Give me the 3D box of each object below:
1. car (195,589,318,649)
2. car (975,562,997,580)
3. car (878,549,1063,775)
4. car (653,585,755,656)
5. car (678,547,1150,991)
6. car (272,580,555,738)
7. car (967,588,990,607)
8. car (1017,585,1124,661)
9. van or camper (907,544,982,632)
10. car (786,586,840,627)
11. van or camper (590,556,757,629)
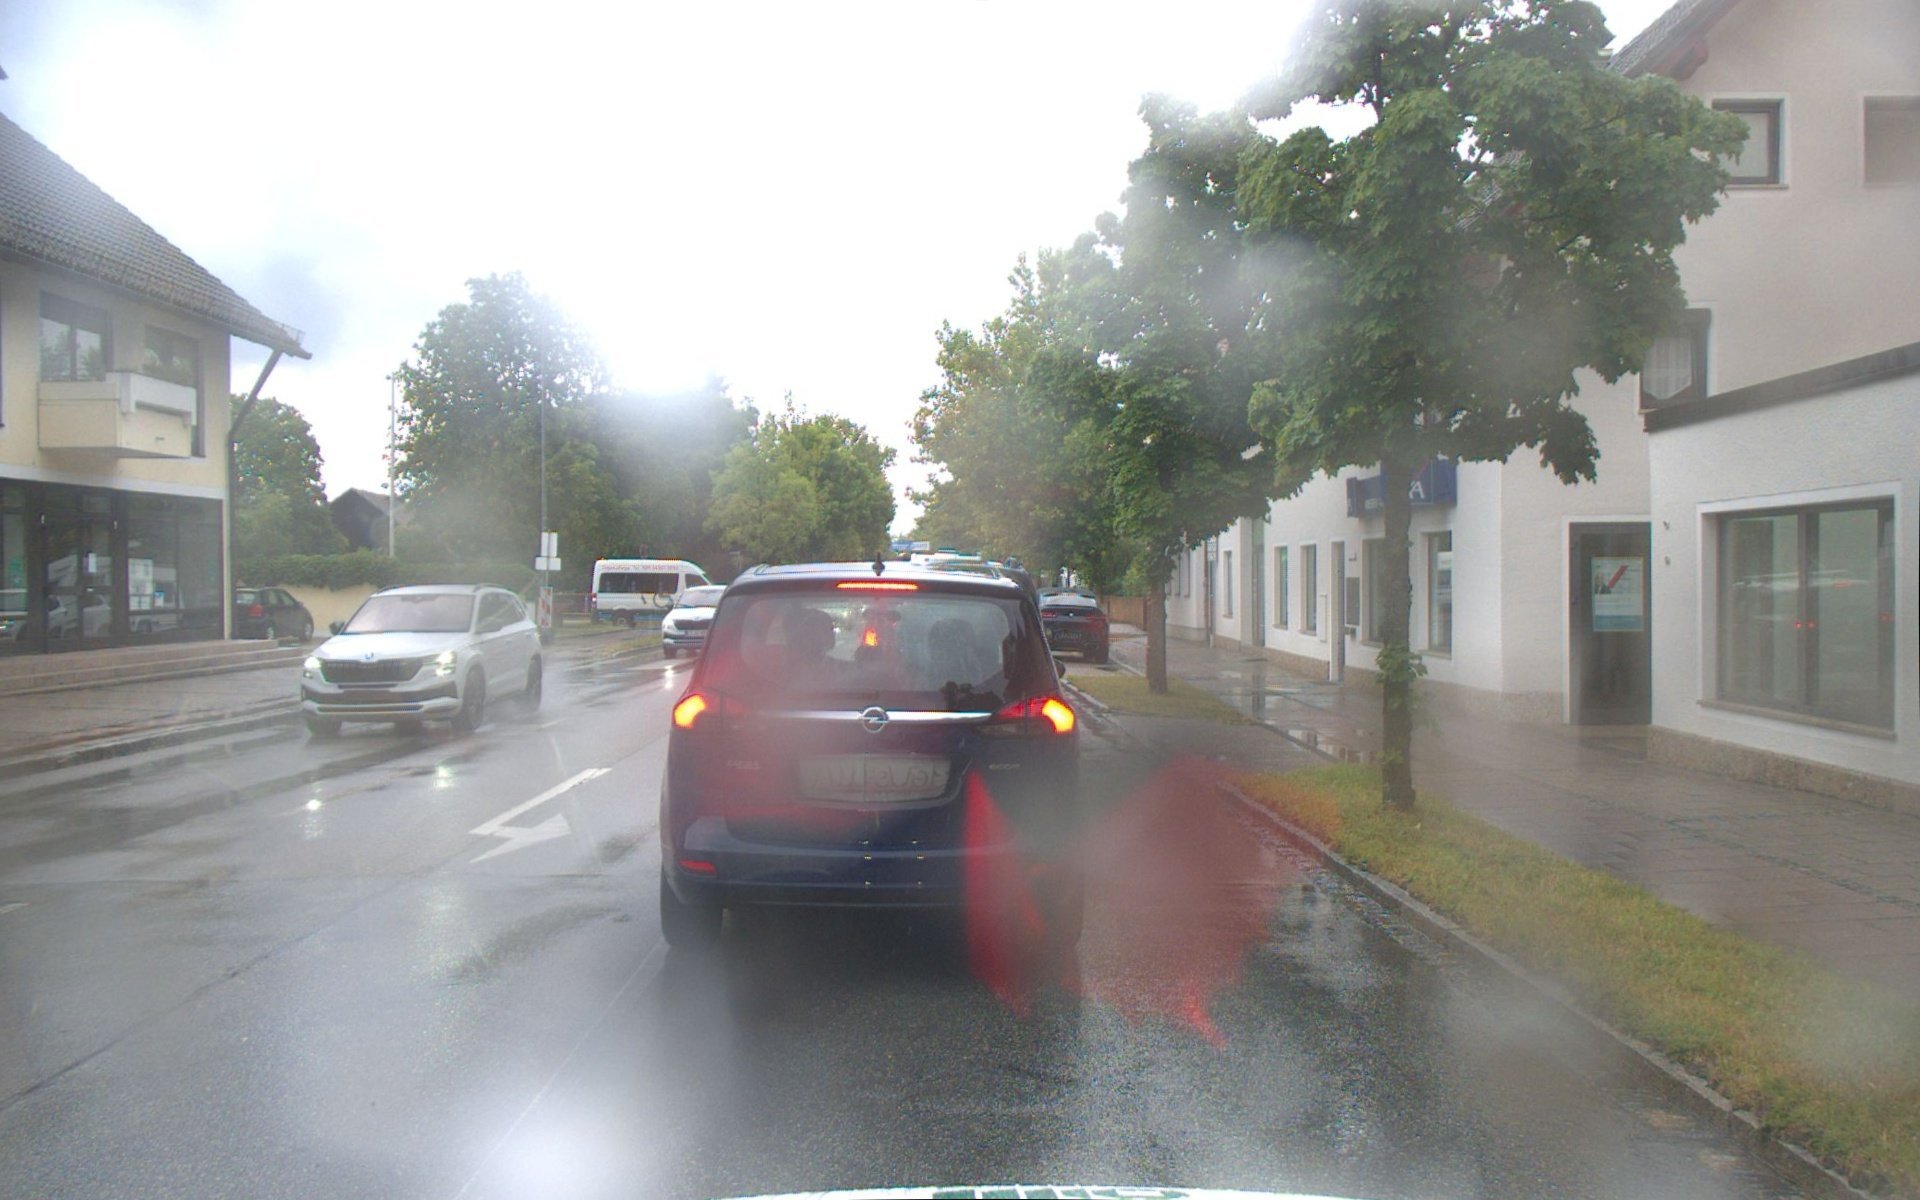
[{"bbox_3d":[-17.497,0.437,41.307,1.574,1.404,3.508,-1,0,-1],"label":"car"},{"bbox_3d":[2.131,-2.396,136.324,1.597,1.402,3.622,-1,0,-1],"label":"car"},{"bbox_3d":[0.066,0.500,15.025,1.470,1.807,3.111,1,0,-1],"label":"car"},{"bbox_3d":[-6.045,0.456,39.498,1.887,1.594,4.125,-1,0,-1],"label":"car"},{"bbox_3d":[-0.193,0.621,7.982,1.733,1.632,3.662,1,0,-1],"label":"car"},{"bbox_3d":[-6.154,0.604,19.174,1.927,1.590,4.151,-1,0,-1],"label":"car"},{"bbox_3d":[1.403,-0.212,126.935,1.597,1.402,3.622,1,0,-1],"label":"car"},{"bbox_3d":[2.498,0.506,38.217,2.075,1.609,3.934,1,0,-2],"label":"car"},{"bbox_3d":[-0.514,-0.397,53.824,2.312,2.712,5.370,0,0,-1],"label":"van or camper"},{"bbox_3d":[-5.881,0.247,66.599,1.716,1.537,4.230,-2,0,0],"label":"car"},{"bbox_3d":[-10.907,-0.297,63.302,6.126,2.754,2.099,0,0,-5],"label":"van or camper"}]
